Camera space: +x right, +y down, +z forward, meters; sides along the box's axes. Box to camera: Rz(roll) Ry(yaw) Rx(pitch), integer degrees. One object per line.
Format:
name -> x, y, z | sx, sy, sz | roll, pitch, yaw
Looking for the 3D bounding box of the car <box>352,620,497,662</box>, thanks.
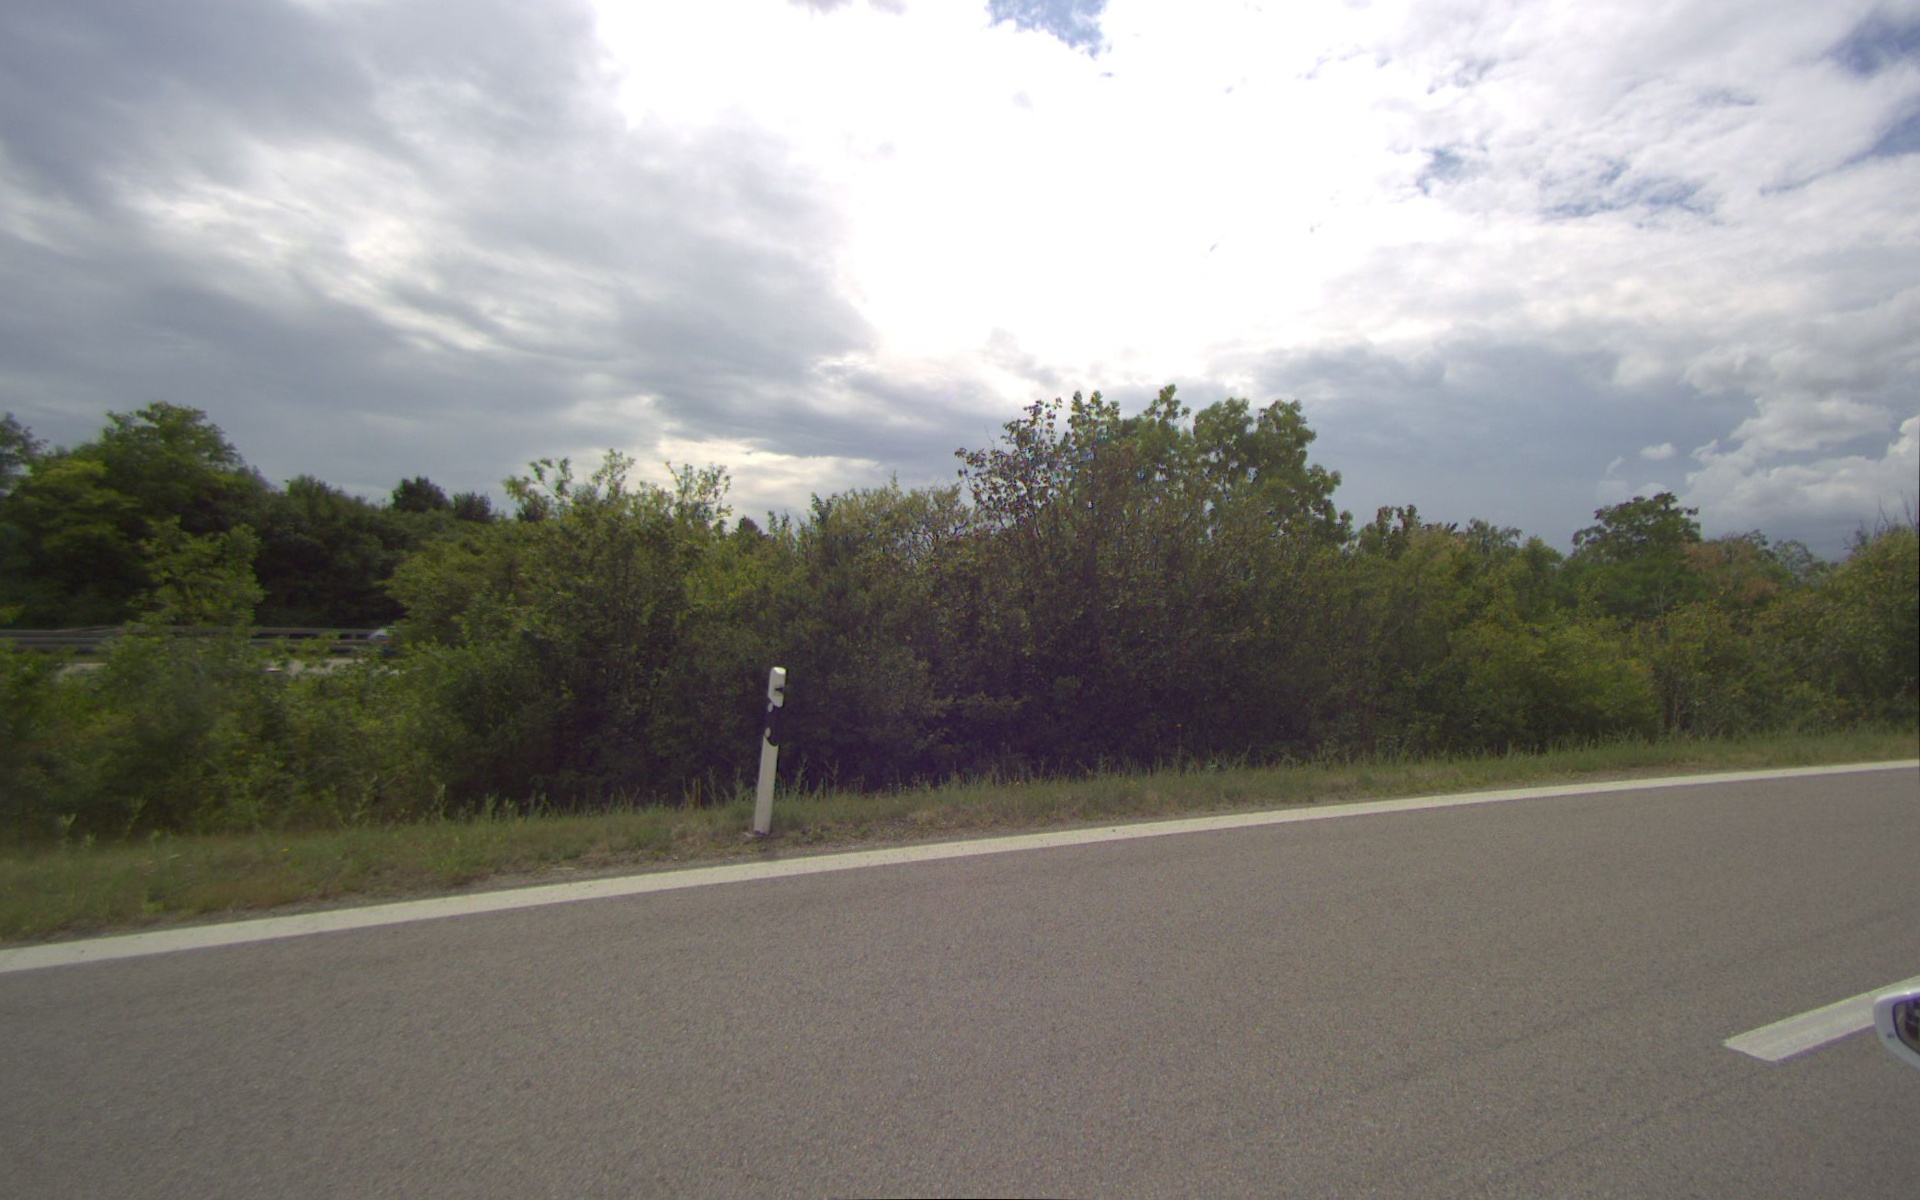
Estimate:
car -> -19.985, 1.553, 37.718 | 1.963, 1.441, 4.455 | 1, -2, 26
